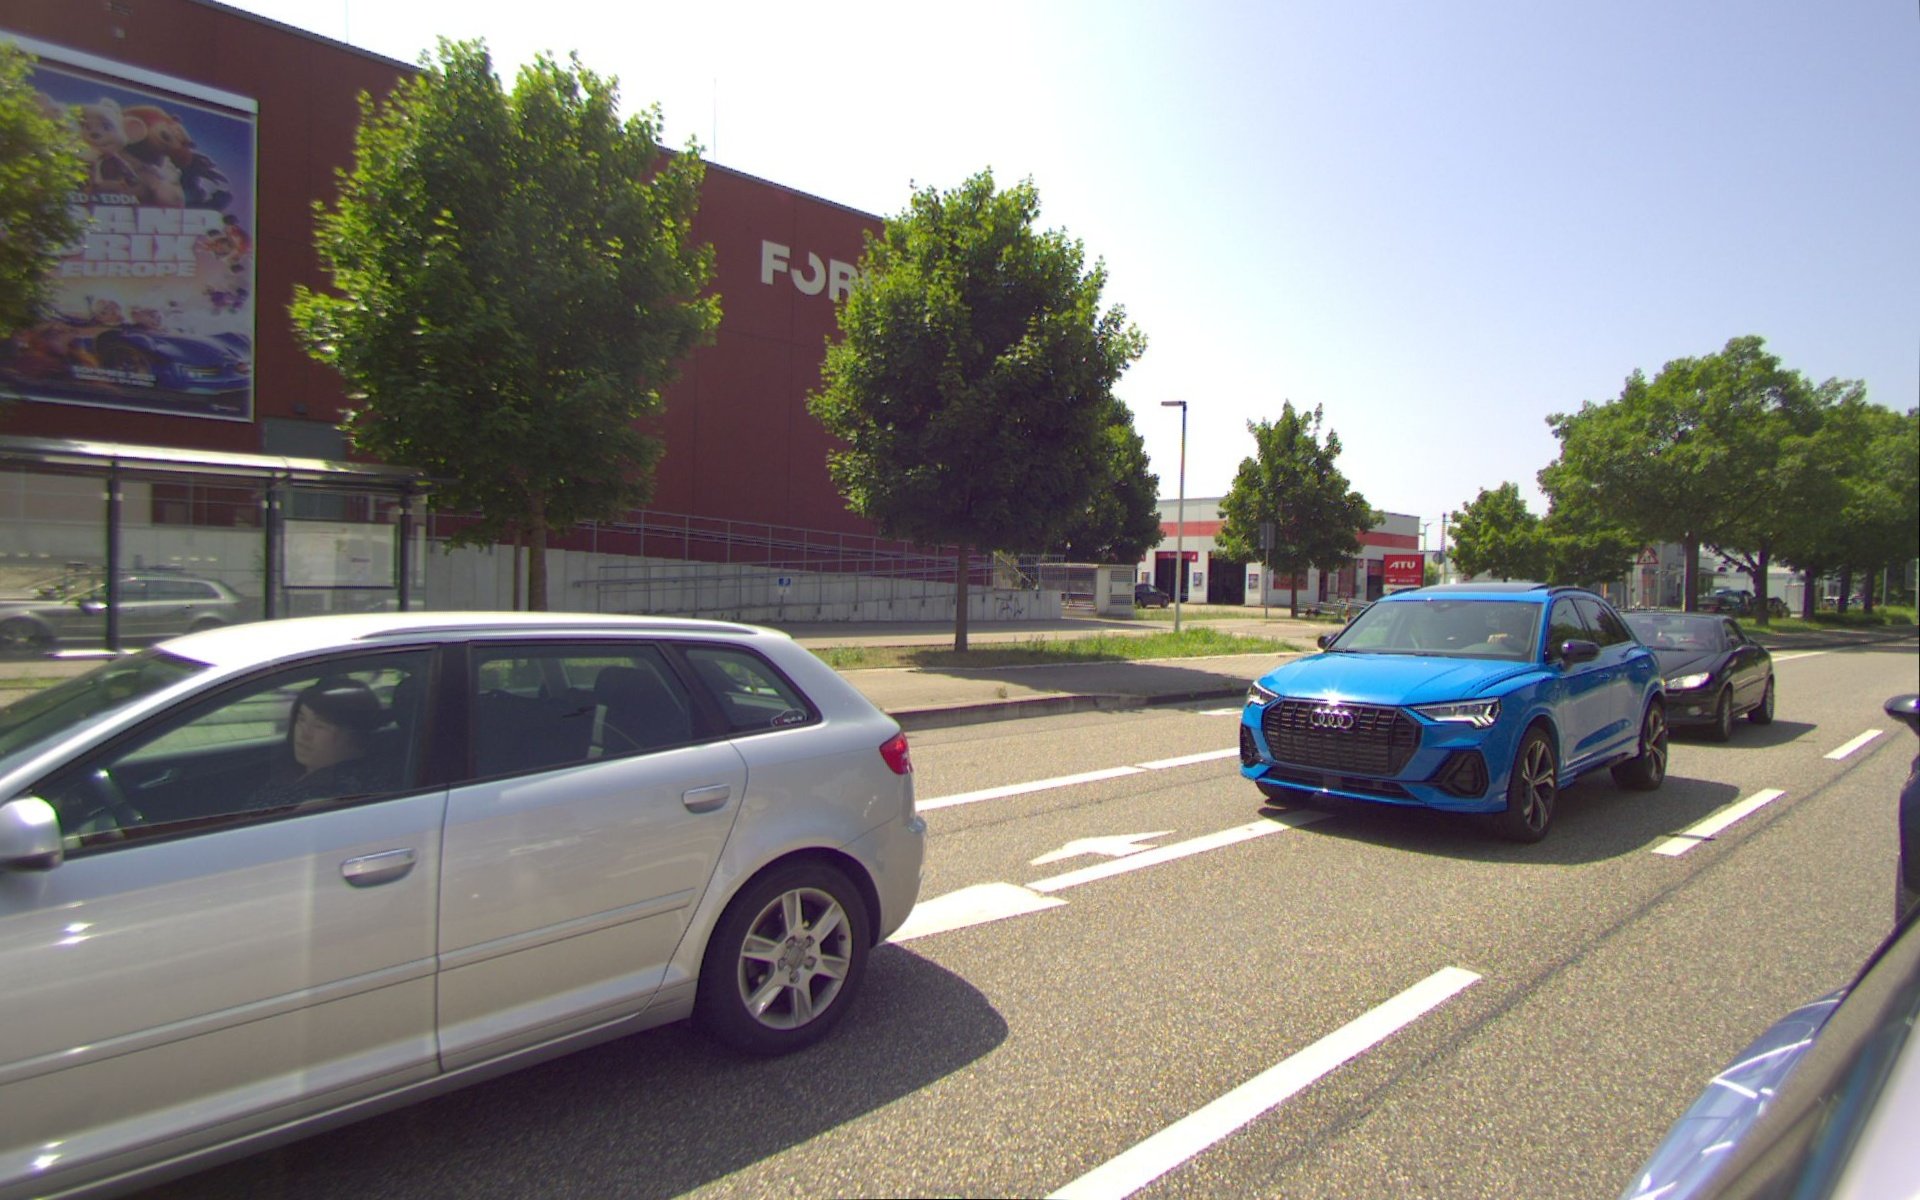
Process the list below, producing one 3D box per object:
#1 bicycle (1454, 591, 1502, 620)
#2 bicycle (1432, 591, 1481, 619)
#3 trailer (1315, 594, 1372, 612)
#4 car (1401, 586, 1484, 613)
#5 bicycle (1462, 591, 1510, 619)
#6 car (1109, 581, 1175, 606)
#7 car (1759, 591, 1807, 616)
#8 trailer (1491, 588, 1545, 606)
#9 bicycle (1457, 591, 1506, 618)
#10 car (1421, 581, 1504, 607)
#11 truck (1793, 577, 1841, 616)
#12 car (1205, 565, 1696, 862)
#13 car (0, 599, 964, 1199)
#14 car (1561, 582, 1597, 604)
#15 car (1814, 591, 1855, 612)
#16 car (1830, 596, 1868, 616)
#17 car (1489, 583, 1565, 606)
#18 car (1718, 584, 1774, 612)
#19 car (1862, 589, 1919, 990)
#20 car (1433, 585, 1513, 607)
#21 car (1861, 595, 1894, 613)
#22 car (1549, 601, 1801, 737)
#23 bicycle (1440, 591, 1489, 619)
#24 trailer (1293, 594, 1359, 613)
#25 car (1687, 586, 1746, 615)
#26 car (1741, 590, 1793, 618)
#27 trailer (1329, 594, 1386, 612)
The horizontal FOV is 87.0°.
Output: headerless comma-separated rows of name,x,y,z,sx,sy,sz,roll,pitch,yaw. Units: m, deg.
bicycle,22.266,0.223,43.520,1.779,1.138,0.507,3,1,43
bicycle,21.030,0.204,42.890,1.779,1.138,0.507,3,1,43
trailer,18.016,0.115,47.565,1.244,0.771,2.137,0,2,-39
car,27.716,-0.060,58.202,1.718,1.419,3.992,0,2,-43
bicycle,23.141,0.200,44.551,1.779,1.138,0.507,3,1,43
car,10.825,-0.410,60.045,4.074,1.390,1.716,0,2,-42
car,52.041,0.209,63.971,3.930,1.532,1.719,0,2,-41
trailer,35.204,-0.200,63.819,1.552,1.065,2.638,0,2,-43
bicycle,22.674,0.182,44.011,1.779,1.138,0.507,3,1,43
car,29.506,-0.361,59.486,1.718,1.419,3.991,0,2,-44
truck,60.653,-0.243,71.643,3.929,2.599,1.904,0,1,-40
car,3.890,0.596,7.646,4.324,1.616,1.840,0,1,-42
car,-2.033,0.692,2.999,4.022,1.379,1.714,0,0,-43
car,48.679,-0.562,79.532,1.753,1.616,3.940,2,2,41
car,65.064,0.122,75.297,3.930,1.485,1.719,0,2,-41
car,70.025,0.442,79.713,3.930,1.485,1.719,0,2,-41
car,36.767,-0.361,65.688,1.662,1.317,3.991,0,2,-44
car,43.832,-0.114,56.425,3.930,1.485,1.719,0,2,-41
car,5.325,0.704,4.421,3.931,1.421,1.640,0,2,-42
car,31.026,-0.255,61.287,1.718,1.223,3.991,0,2,-44
car,80.322,0.355,88.585,3.930,1.485,1.719,0,2,-41
car,8.600,0.694,12.049,3.931,1.361,1.640,0,0,-42
bicycle,21.544,0.189,43.236,1.779,1.138,0.507,3,1,43
trailer,16.718,0.143,46.251,1.423,0.771,2.467,0,2,-39
car,39.212,0.036,52.408,3.930,1.388,1.641,0,2,-41
car,47.668,0.245,59.750,3.930,1.539,1.719,0,2,-41
trailer,19.087,0.155,48.594,1.369,0.771,2.137,0,2,-39
